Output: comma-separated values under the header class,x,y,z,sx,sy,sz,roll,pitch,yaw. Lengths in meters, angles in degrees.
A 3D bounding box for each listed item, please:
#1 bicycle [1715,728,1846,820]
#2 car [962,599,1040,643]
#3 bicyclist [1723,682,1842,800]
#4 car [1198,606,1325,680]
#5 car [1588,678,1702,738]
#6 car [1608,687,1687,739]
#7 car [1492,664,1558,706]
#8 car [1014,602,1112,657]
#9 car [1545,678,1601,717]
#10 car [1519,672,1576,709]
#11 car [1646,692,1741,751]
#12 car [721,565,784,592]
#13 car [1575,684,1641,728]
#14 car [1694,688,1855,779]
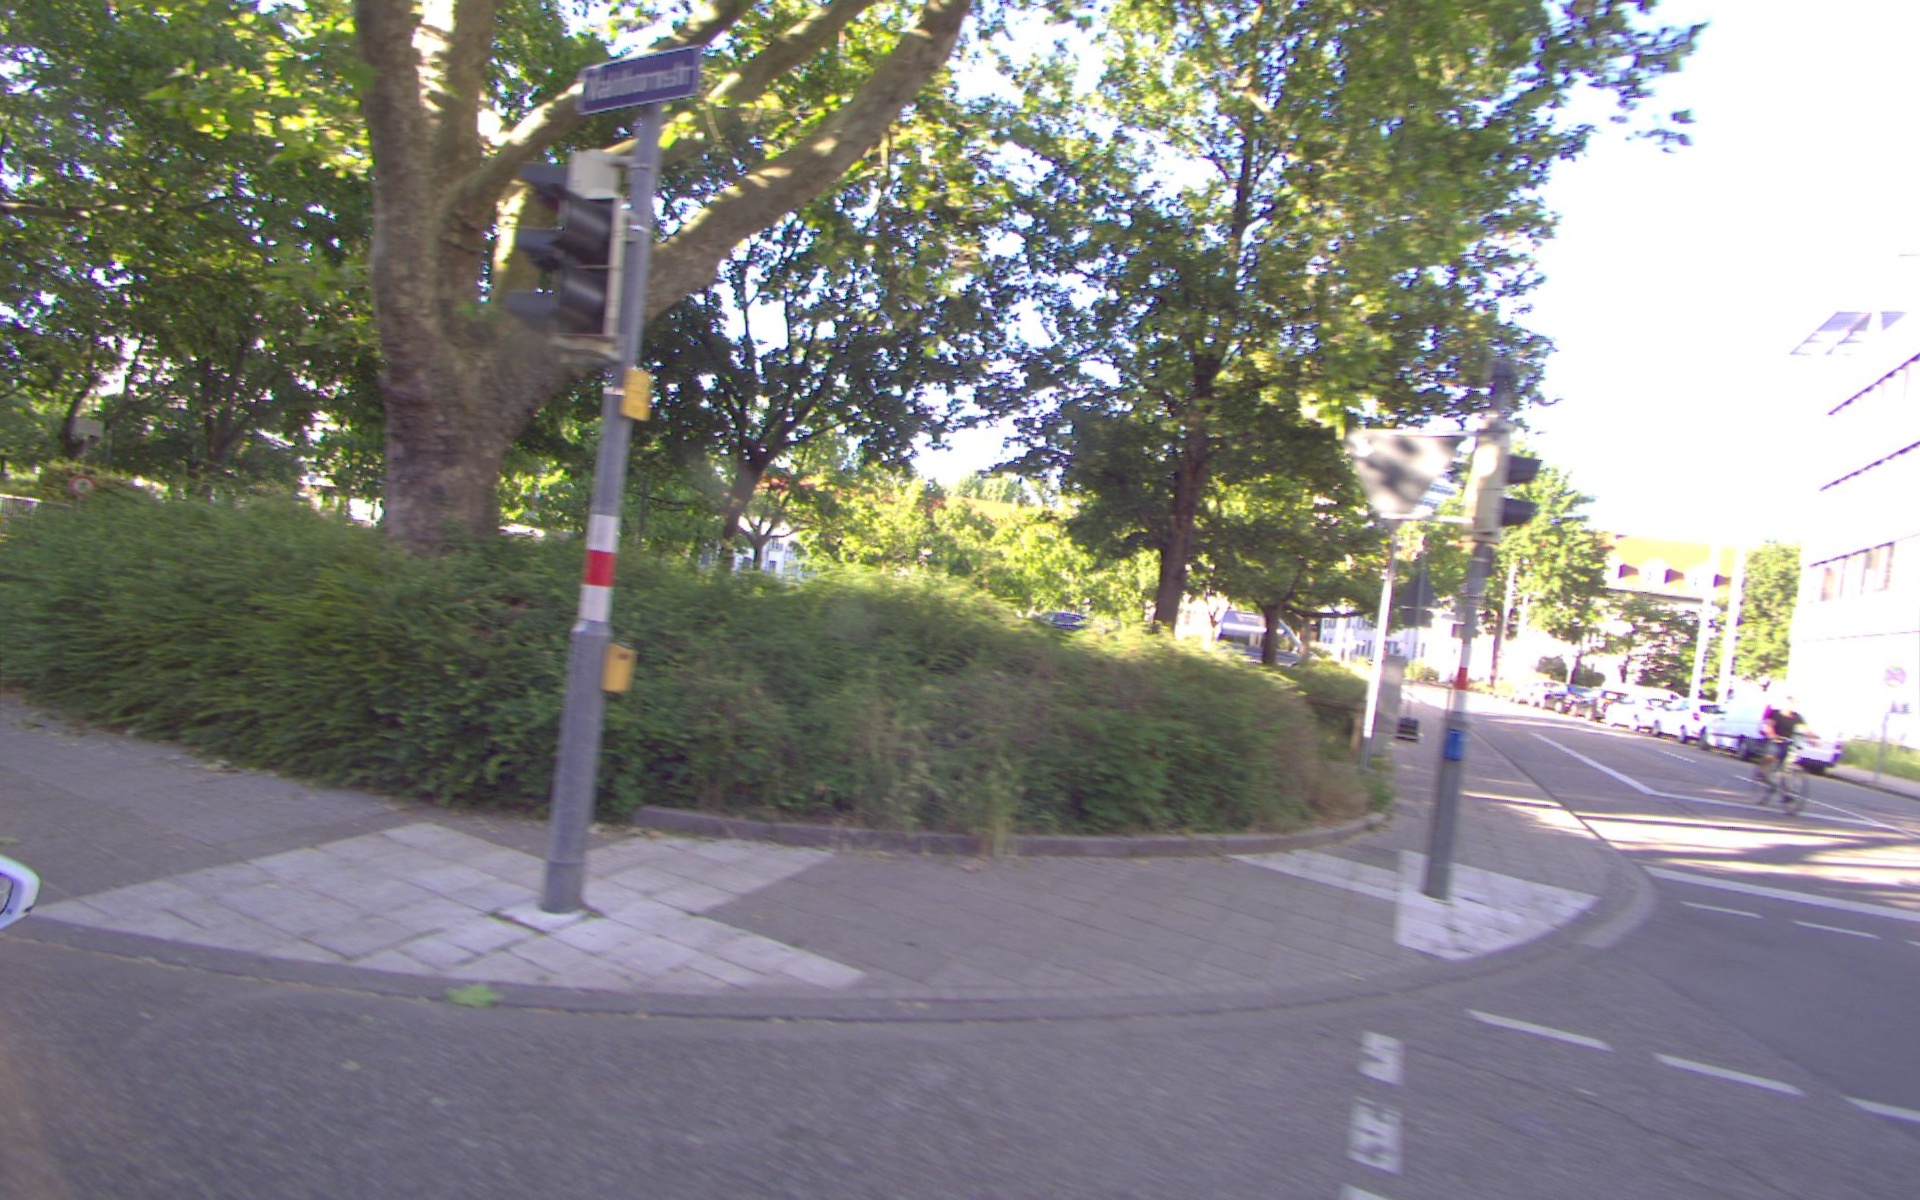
class,x,y,z,sx,sy,sz,roll,pitch,yaw
bicycle,12.283,2.573,15.144,0.705,1.029,2.024,6,0,17
car,2.437,1.223,59.651,3.973,1.969,1.924,8,-1,25
bicyclist,12.331,2.084,15.129,0.861,1.554,1.088,8,1,17
car,13.698,1.943,45.736,5.066,2.605,1.998,8,1,24
car,41.264,6.471,60.742,5.021,2.653,1.999,8,3,12
car,26.176,4.260,38.404,1.600,1.503,3.848,8,0,23
car,32.543,4.880,58.126,2.051,1.810,4.910,7,1,16
car,5.112,1.445,49.922,4.234,2.114,1.786,8,1,25
car,29.244,4.609,48.083,1.600,1.503,3.848,8,0,23
car,30.909,4.740,52.992,1.599,1.509,3.603,8,0,17
car,24.624,4.044,33.909,1.600,1.503,3.848,8,0,23
car,-16.779,-1.735,81.324,4.575,1.492,2.014,8,-1,26
car,27.784,4.509,43.267,1.600,1.503,3.848,8,0,23
car,22.455,3.594,27.981,2.071,1.851,4.717,8,0,23
